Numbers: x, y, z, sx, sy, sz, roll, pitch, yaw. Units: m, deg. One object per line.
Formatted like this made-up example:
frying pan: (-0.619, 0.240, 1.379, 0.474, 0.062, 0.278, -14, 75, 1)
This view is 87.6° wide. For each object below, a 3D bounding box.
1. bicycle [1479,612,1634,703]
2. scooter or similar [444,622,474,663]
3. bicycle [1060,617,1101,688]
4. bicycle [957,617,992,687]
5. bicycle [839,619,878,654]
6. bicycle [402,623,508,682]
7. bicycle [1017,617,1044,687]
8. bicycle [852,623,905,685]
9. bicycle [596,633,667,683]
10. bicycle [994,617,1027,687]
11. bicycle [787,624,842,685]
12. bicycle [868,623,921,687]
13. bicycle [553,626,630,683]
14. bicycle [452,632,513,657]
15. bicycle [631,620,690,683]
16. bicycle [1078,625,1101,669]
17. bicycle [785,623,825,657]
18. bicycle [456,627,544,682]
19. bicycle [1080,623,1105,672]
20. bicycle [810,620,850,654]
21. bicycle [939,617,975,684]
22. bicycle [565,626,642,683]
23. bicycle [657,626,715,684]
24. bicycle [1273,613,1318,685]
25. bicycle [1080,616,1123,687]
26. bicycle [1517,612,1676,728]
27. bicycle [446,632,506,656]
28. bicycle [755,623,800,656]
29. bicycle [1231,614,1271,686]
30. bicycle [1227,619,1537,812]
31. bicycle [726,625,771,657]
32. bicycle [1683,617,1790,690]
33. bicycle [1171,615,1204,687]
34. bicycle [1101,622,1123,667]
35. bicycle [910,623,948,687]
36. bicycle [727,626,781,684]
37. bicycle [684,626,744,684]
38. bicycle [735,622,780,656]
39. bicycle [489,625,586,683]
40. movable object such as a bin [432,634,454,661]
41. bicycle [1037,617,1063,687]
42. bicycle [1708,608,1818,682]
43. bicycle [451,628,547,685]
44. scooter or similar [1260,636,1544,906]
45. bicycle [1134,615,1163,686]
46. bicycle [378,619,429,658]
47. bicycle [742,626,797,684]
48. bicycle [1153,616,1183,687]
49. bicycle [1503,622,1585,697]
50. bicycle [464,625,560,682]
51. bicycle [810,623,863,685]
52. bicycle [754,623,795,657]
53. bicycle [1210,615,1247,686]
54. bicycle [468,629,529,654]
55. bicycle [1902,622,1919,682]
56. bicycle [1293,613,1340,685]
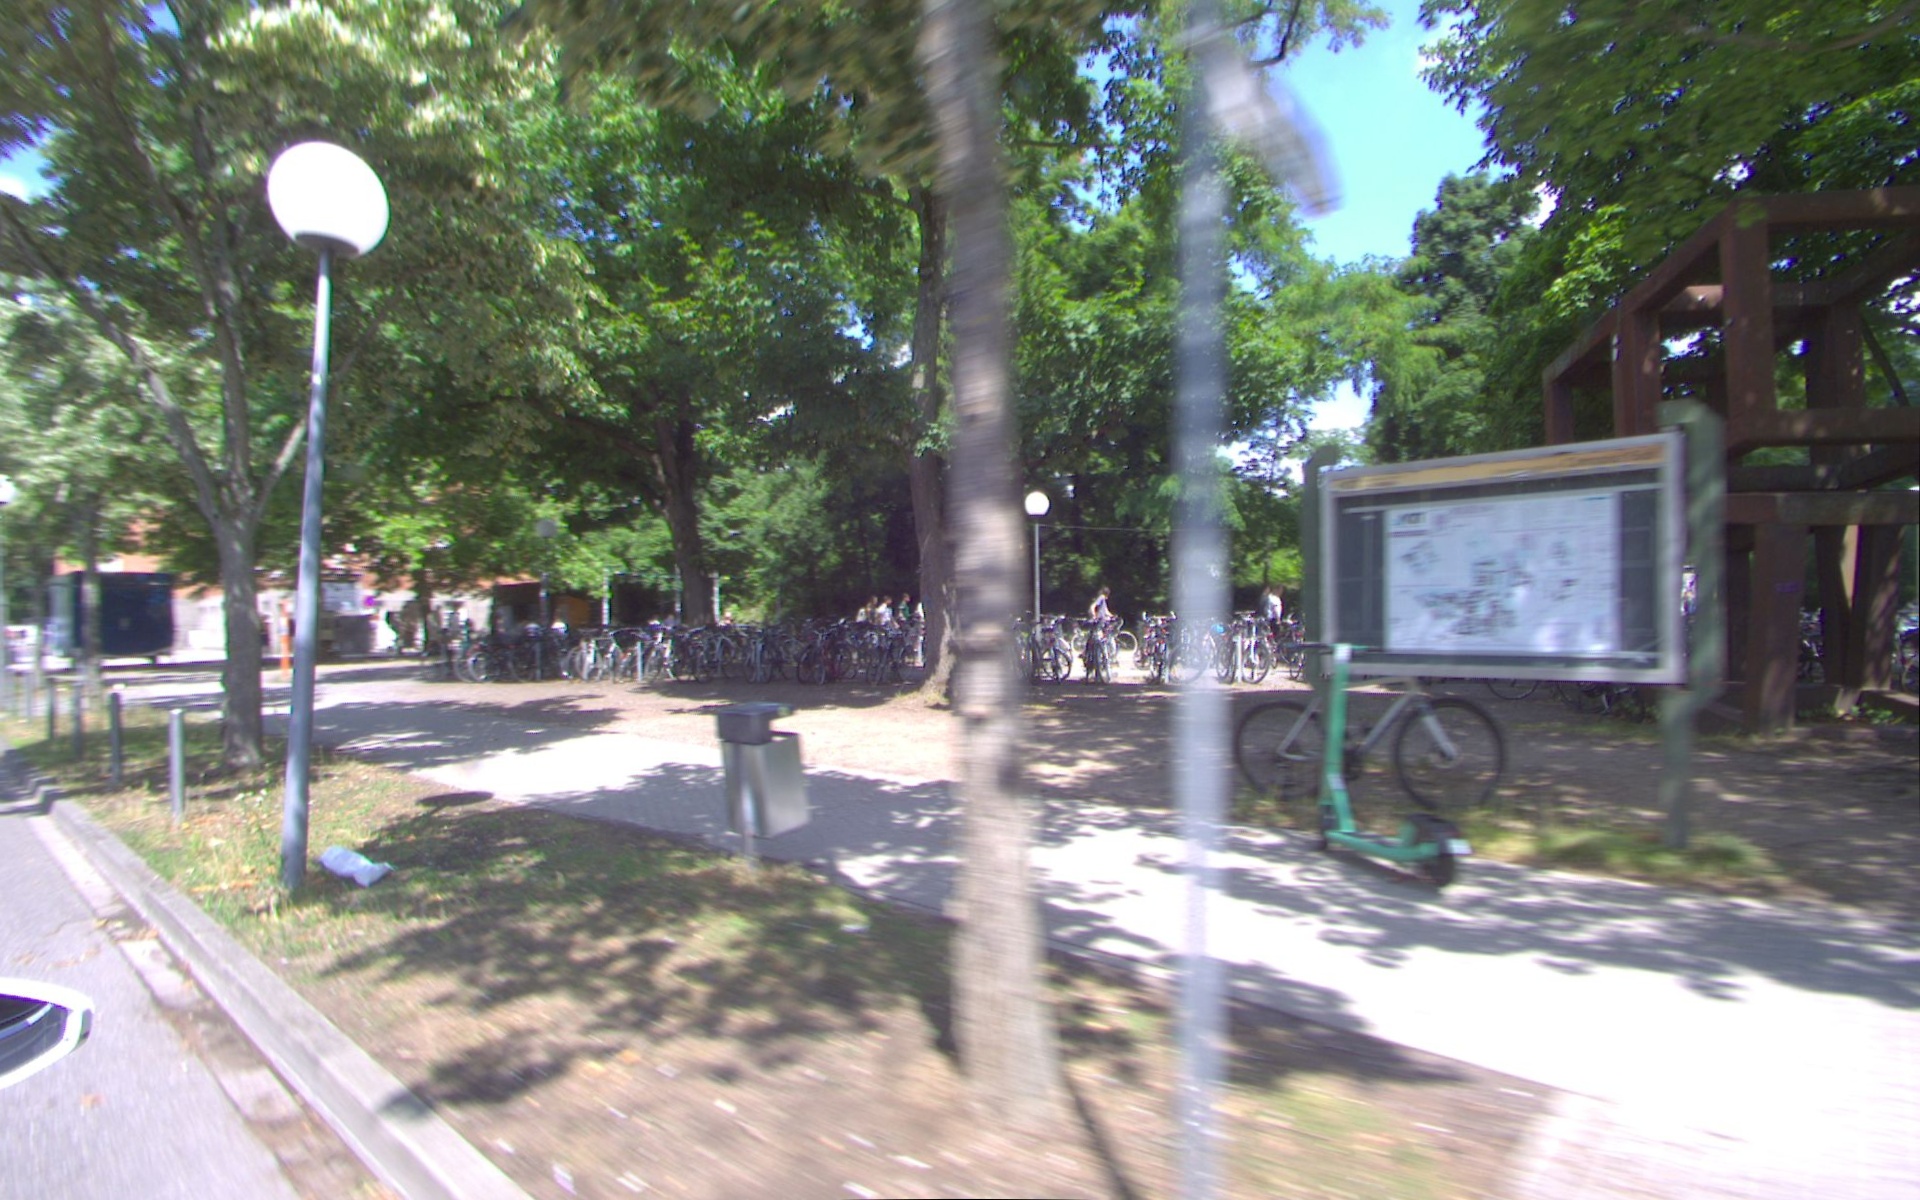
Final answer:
bicycle: (7.680, 0.743, 12.932, 1.638, 1.124, 0.476, -1, -1, 6)
scooter or similar: (-15.356, 1.313, 30.686, 1.281, 1.234, 0.421, -2, -1, 44)
bicycle: (2.096, 0.884, 17.562, 0.339, 1.185, 1.845, 0, -1, -5)
bicycle: (0.273, 0.897, 17.952, 0.395, 1.185, 1.793, 0, -1, 9)
bicycle: (-3.232, 1.162, 31.947, 0.470, 1.053, 1.749, -1, 0, 21)
bicycle: (-10.757, 1.093, 21.403, 0.642, 1.182, 2.011, 0, -1, 31)
bicycle: (1.268, 0.890, 17.803, 0.339, 1.185, 1.845, 0, -1, 9)
bicycle: (-1.496, 0.966, 18.556, 0.419, 1.084, 1.791, 0, -1, 14)
bicycle: (-6.435, 1.119, 19.713, 0.485, 0.921, 1.737, 0, -1, 13)
bicycle: (0.923, 0.894, 17.959, 0.395, 1.185, 1.845, 0, -1, 9)
bicycle: (-2.701, 0.992, 18.746, 0.418, 1.084, 1.792, 0, -1, 12)
bicycle: (-1.172, 0.965, 18.181, 0.419, 1.084, 1.791, 0, -1, 14)
bicycle: (-7.422, 1.069, 20.245, 0.320, 1.073, 1.910, 0, -1, 19)
bicycle: (-21.487, 1.999, 45.066, 2.378, 1.085, 0.776, 1, -2, -41)
bicycle: (-5.905, 0.991, 19.831, 0.485, 1.170, 1.738, 0, -1, 6)
bicycle: (3.144, 1.124, 24.230, 0.371, 0.992, 1.902, -1, 0, 12)
bicycle: (-5.069, 1.293, 32.859, 0.470, 1.053, 1.780, -1, 0, 21)
bicycle: (-9.714, 1.138, 21.214, 0.432, 1.096, 1.765, 0, -1, 31)
bicycle: (2.891, 1.007, 21.807, 0.371, 0.992, 1.902, -1, 0, 12)
bicycle: (-4.223, 1.184, 32.684, 0.470, 1.053, 1.828, -1, 0, 21)
bicycle: (-0.042, 0.904, 18.524, 0.395, 1.185, 1.793, 0, -1, 9)
bicycle: (-7.139, 1.063, 20.129, 0.320, 1.073, 1.910, 0, -1, 19)
bicycle: (-5.274, 1.036, 19.355, 0.485, 1.066, 1.738, 0, -1, 6)
bicycle: (5.823, 0.823, 17.423, 0.346, 1.185, 1.845, 0, -1, 6)
bicycle: (2.463, 0.873, 17.579, 0.339, 1.185, 1.845, 0, -1, -5)
bicycle: (6.781, 0.717, 10.795, 0.620, 1.124, 1.925, -1, -2, 6)
bicycle: (-22.093, 2.002, 45.743, 2.373, 1.085, 0.778, 1, -2, -35)
bicycle: (-6.072, 1.299, 33.446, 0.470, 1.053, 1.954, -1, 0, 23)
bicycle: (5.041, 0.841, 17.425, 0.346, 1.185, 1.845, 0, -1, 6)
bicycle: (2.583, 0.721, 6.291, 1.659, 1.097, 0.628, -3, -3, 20)
bicycle: (-7.131, 1.373, 33.882, 0.431, 0.992, 1.954, -1, 0, 23)
bicycle: (13.238, 0.885, 17.131, 0.339, 1.185, 1.845, 0, -1, -2)
bicycle: (3.966, 0.860, 17.528, 0.339, 1.185, 1.845, 0, -1, 6)
bicycle: (3.646, 1.039, 23.904, 0.371, 0.992, 1.902, -1, 0, 12)
bicycle: (-0.550, 0.967, 18.177, 0.418, 1.084, 1.793, 0, -1, 7)
bicycle: (-3.926, 1.025, 19.189, 0.374, 1.041, 1.792, 0, -1, 11)
bicycle: (-4.771, 1.047, 19.523, 0.432, 1.041, 1.796, 0, -1, 11)
bicycle: (-6.781, 1.298, 33.606, 0.427, 1.053, 1.954, -1, 0, 23)
bicycle: (-8.527, 1.069, 20.291, 0.399, 1.096, 1.940, 0, -1, 31)
movable object such as a bin: (-21.386, 1.962, 41.402, 0.735, 1.084, 0.596, -4, -3, 43)
bicycle: (1.608, 0.890, 17.731, 0.339, 1.185, 1.845, 0, -1, 9)
bicycle: (13.584, 0.742, 17.006, 0.339, 1.185, 1.845, 0, -1, -2)
bicycle: (-9.537, 1.142, 20.784, 0.399, 1.096, 1.940, 0, -1, 31)
scooter or similar: (2.177, 0.776, 5.101, 0.489, 1.129, 1.358, 0, 1, -22)
bicycle: (3.298, 0.853, 17.603, 0.339, 1.185, 1.845, 0, -1, 6)
bicycle: (-18.687, 1.297, 33.647, 1.708, 1.269, 0.530, -1, 1, 23)
bicycle: (-3.617, 1.017, 19.125, 0.374, 1.041, 1.792, 0, -1, 11)
bicycle: (3.636, 0.868, 17.565, 0.339, 1.185, 1.845, 0, -1, 6)
bicycle: (9.774, 0.967, 16.833, 0.405, 1.185, 1.845, 0, -1, 4)
bicycle: (-9.169, 1.072, 20.571, 0.399, 1.096, 1.940, 0, -1, 31)
bicycle: (-2.280, 0.982, 18.648, 0.418, 1.084, 1.792, 0, -1, 12)
bicycle: (-6.027, 1.290, 32.580, 0.427, 1.053, 1.780, -1, 0, 21)
bicycle: (4.683, 0.850, 17.539, 0.346, 1.185, 1.845, 0, -1, 6)
bicycle: (-20.477, 1.871, 44.479, 2.374, 1.085, 0.778, 2, -3, -36)
bicycle: (18.369, 0.959, 18.422, 1.450, 1.098, 0.351, -1, -1, 31)
bicycle: (6.170, 0.815, 17.385, 0.346, 1.185, 1.845, 0, -1, 6)
